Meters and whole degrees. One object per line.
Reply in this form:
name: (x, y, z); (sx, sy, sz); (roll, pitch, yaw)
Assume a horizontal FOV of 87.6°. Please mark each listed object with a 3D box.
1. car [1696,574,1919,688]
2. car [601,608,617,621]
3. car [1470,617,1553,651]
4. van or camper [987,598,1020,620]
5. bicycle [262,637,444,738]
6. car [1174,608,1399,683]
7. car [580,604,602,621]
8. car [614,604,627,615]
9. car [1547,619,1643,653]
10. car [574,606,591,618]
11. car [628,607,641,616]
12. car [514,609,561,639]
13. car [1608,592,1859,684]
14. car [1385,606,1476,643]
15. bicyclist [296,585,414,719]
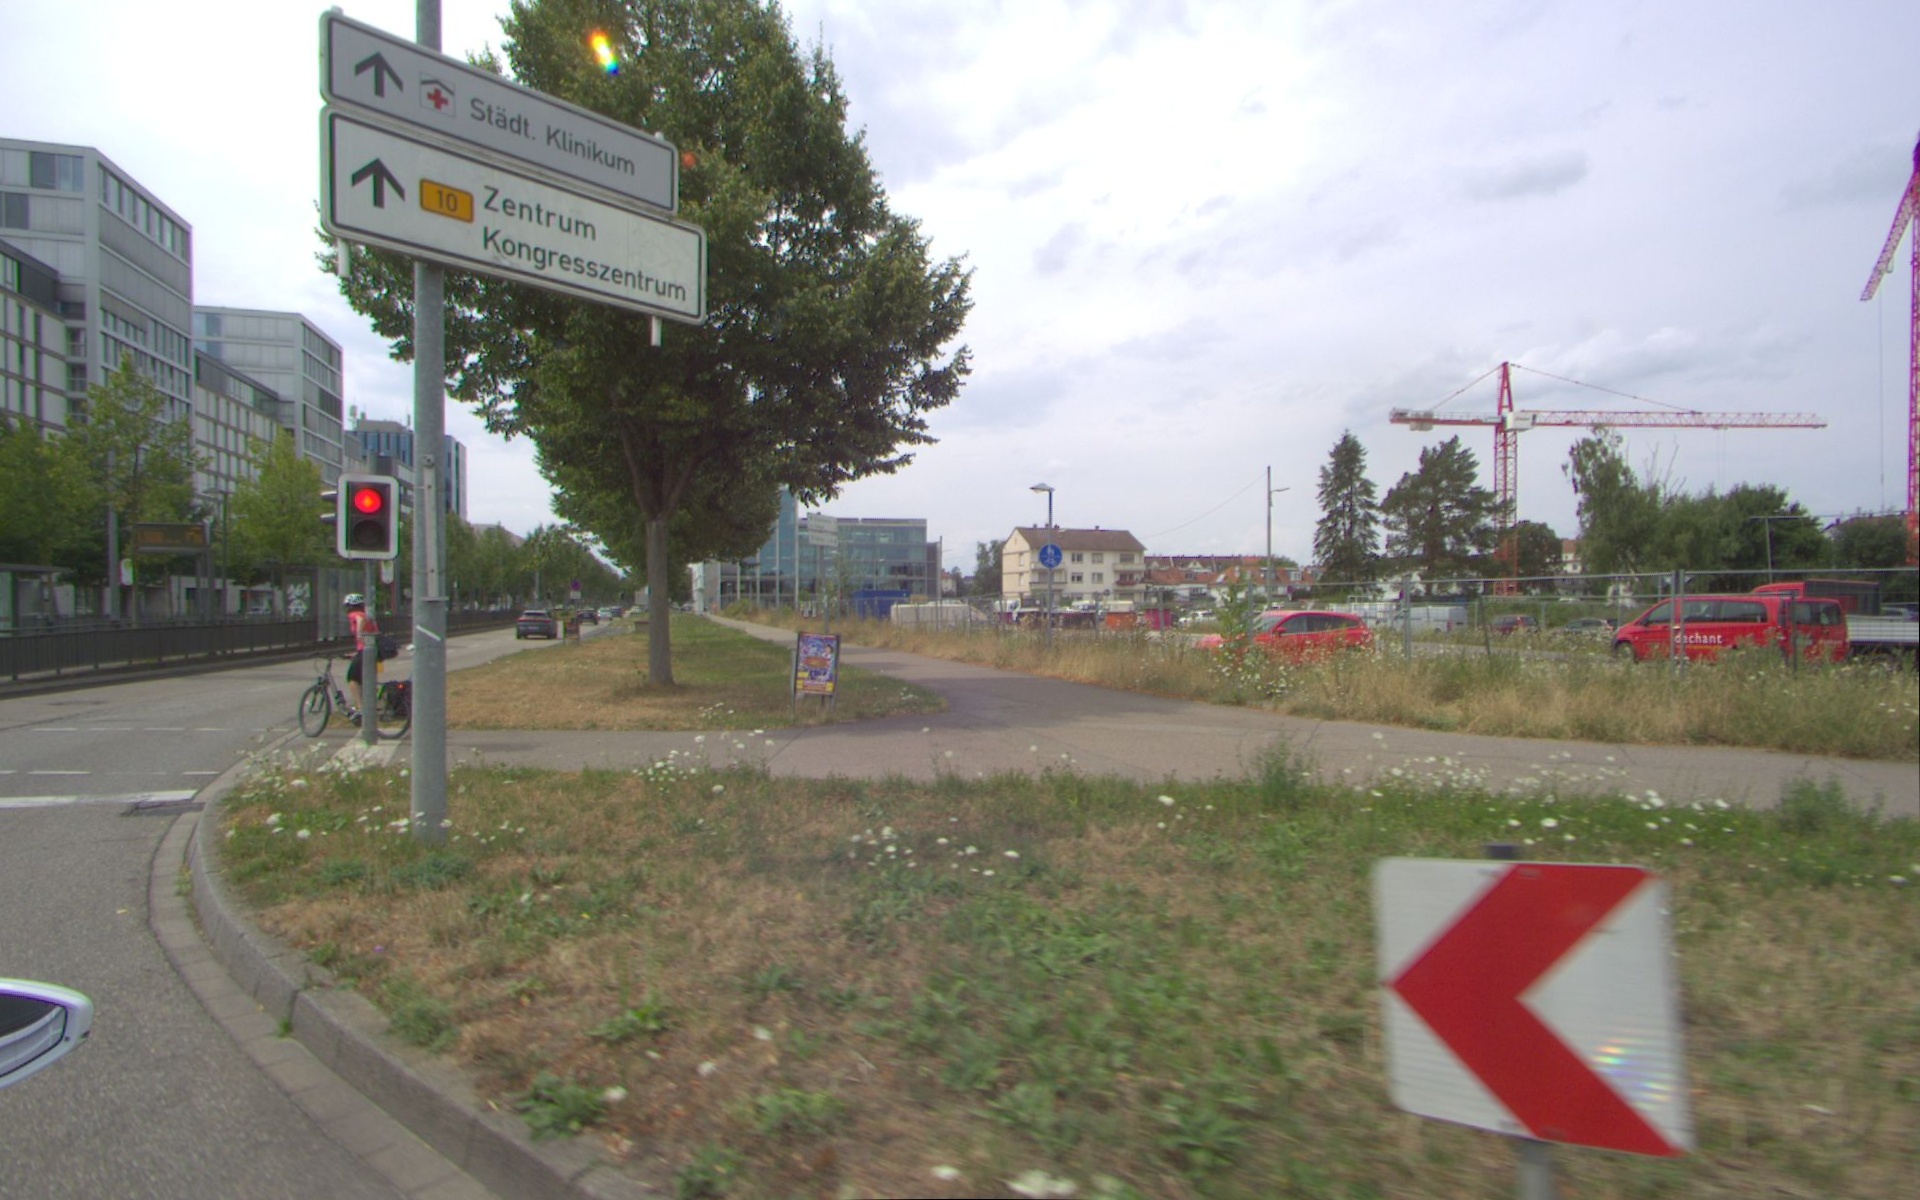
car: (21.437, 0.694, 24.111); (2.274, 2.444, 6.541); (0, 0, -4)
car: (-41.413, 1.719, 118.157); (1.799, 1.481, 4.250); (1, -1, -19)
car: (30.702, 1.853, 55.878); (1.824, 1.772, 4.007); (0, 0, -15)
van or camper: (5.425, 1.112, 125.090); (2.312, 2.723, 5.231); (0, 0, -21)
bicycle: (-7.768, 1.093, 12.831); (2.003, 1.183, 0.791); (0, 0, 12)
car: (7.613, 1.000, 23.288); (5.055, 1.625, 1.783); (0, 0, -23)
car: (-34.743, 1.136, 94.365); (1.710, 1.539, 4.139); (1, -1, -17)
car: (-48.623, 1.389, 143.413); (1.770, 1.516, 4.108); (1, -1, -18)
car: (32.287, 1.822, 51.033); (1.769, 1.623, 4.008); (0, 0, -15)
car: (-47.735, 1.498, 126.621); (1.702, 1.554, 4.364); (1, -1, -17)
car: (-62.468, 2.210, 192.067); (1.964, 1.639, 4.746); (0, 0, -14)
car: (-23.656, 1.323, 56.190); (2.028, 1.571, 4.466); (1, -1, -17)
car: (18.569, 0.873, 24.428); (1.900, 1.935, 4.987); (3, -1, -5)
car: (28.662, 1.440, 61.167); (2.113, 2.164, 4.894); (0, 0, -23)
bicyclist: (-7.729, 0.640, 12.819); (1.029, 1.649, 0.791); (0, 0, 12)
